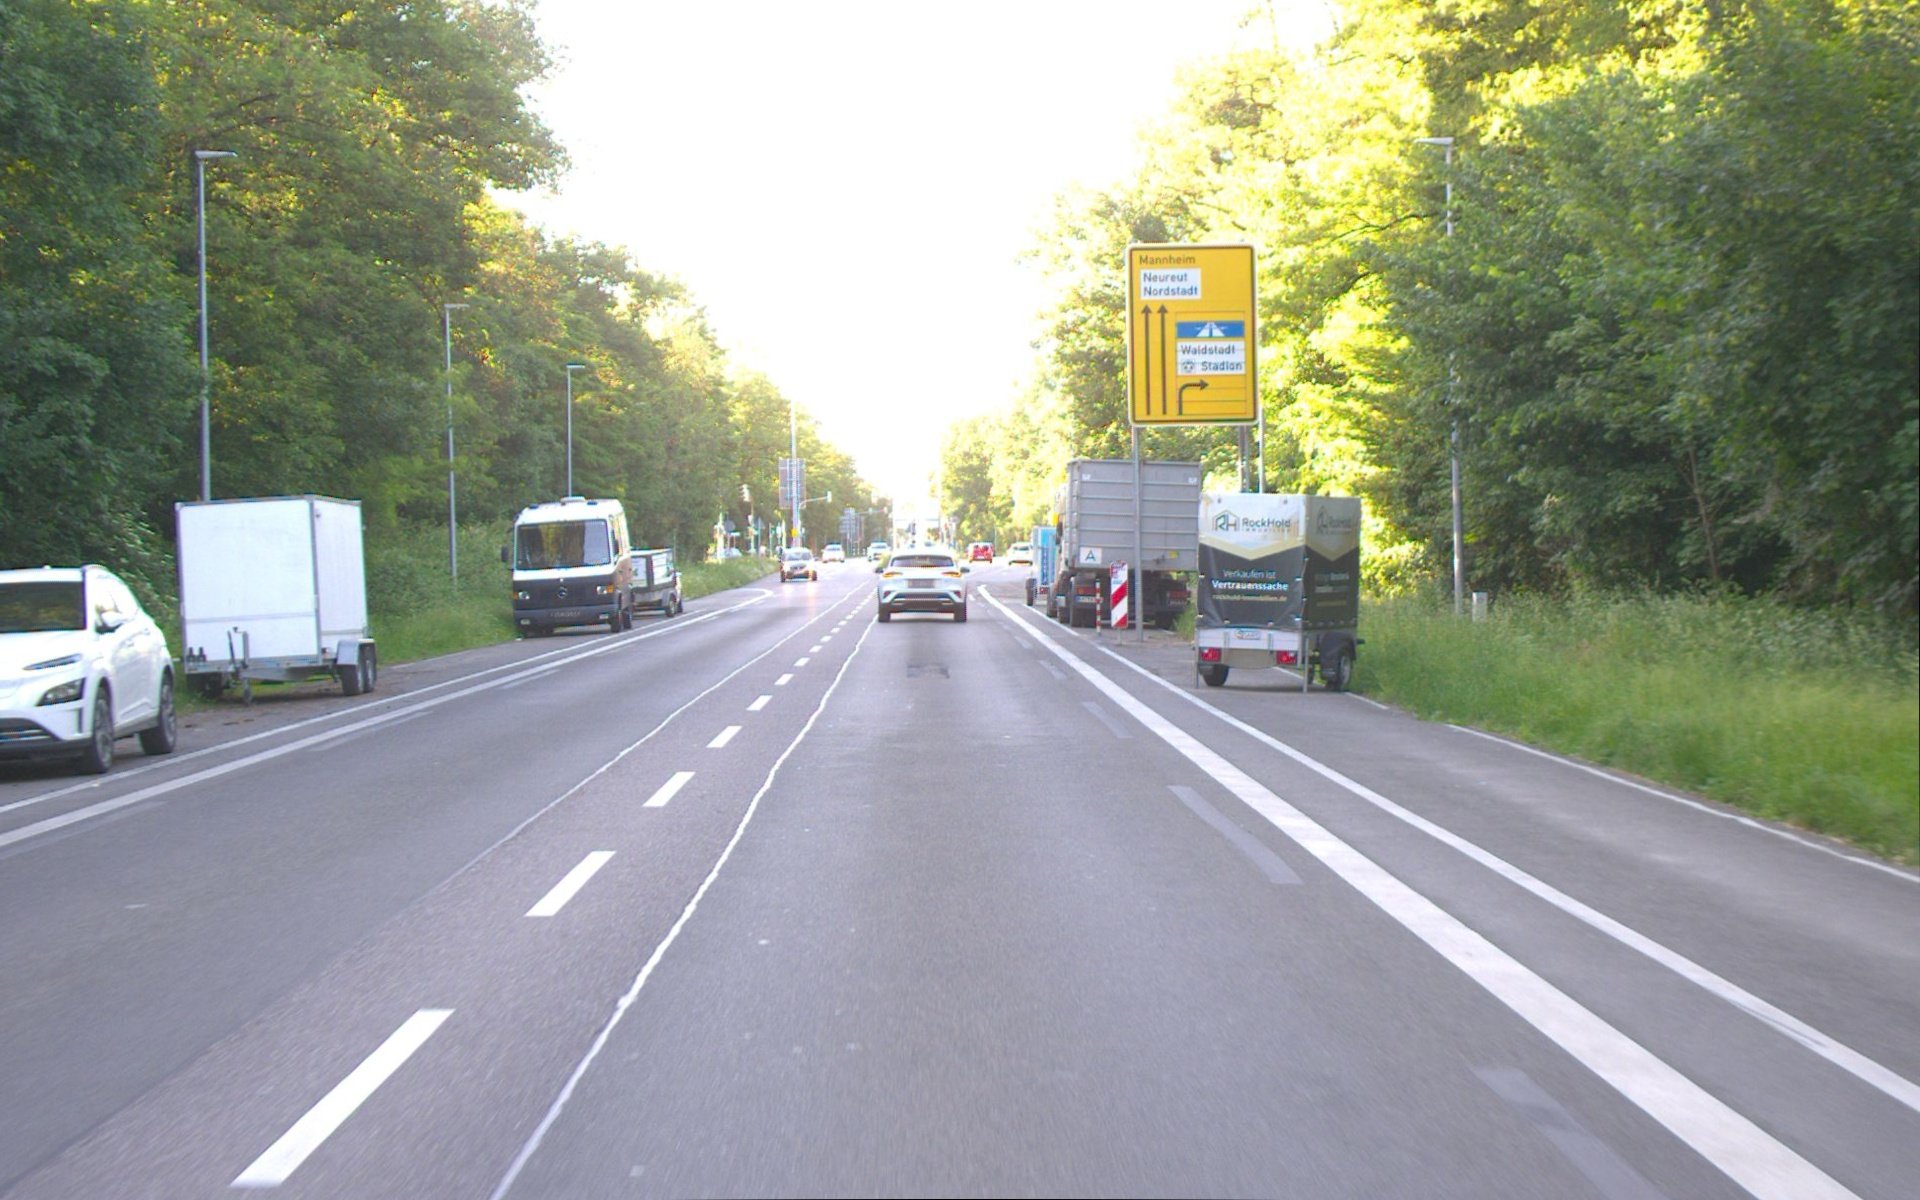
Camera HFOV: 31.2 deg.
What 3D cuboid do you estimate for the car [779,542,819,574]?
[{"bbox_3d":[-7.451,-1.952,159.482,1.678,1.411,4.000,-1,1,0],"label":"car"}]

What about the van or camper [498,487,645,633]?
[{"bbox_3d":[-7.929,-0.834,70.686,2.302,2.758,5.557,-3,1,0],"label":"van or camper"}]

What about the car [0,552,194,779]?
[{"bbox_3d":[-7.274,0.471,26.676,1.814,1.566,4.207,-3,1,-3],"label":"car"}]

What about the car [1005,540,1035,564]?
[{"bbox_3d":[4.192,-3.364,240.629,1.993,1.612,4.000,1,1,0],"label":"car"}]

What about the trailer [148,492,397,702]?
[{"bbox_3d":[-7.973,-0.066,40.189,2.075,2.285,3.486,-2,1,1],"label":"trailer"}]

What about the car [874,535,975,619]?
[{"bbox_3d":[-0.734,-0.500,71.011,1.993,1.634,4.000,-1,1,-1],"label":"car"}]

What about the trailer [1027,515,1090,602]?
[{"bbox_3d":[2.597,-1.117,91.006,1.500,2.228,4.550,1,1,0],"label":"trailer"}]

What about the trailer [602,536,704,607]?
[{"bbox_3d":[-7.514,-0.717,84.359,1.471,1.654,3.364,-2,0,12],"label":"trailer"}]

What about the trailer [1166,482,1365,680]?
[{"bbox_3d":[3.386,-0.224,37.858,1.616,2.105,2.394,0,1,20],"label":"trailer"}]

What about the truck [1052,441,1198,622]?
[{"bbox_3d":[3.178,-1.325,67.768,2.505,3.355,7.107,0,1,0],"label":"truck"}]
